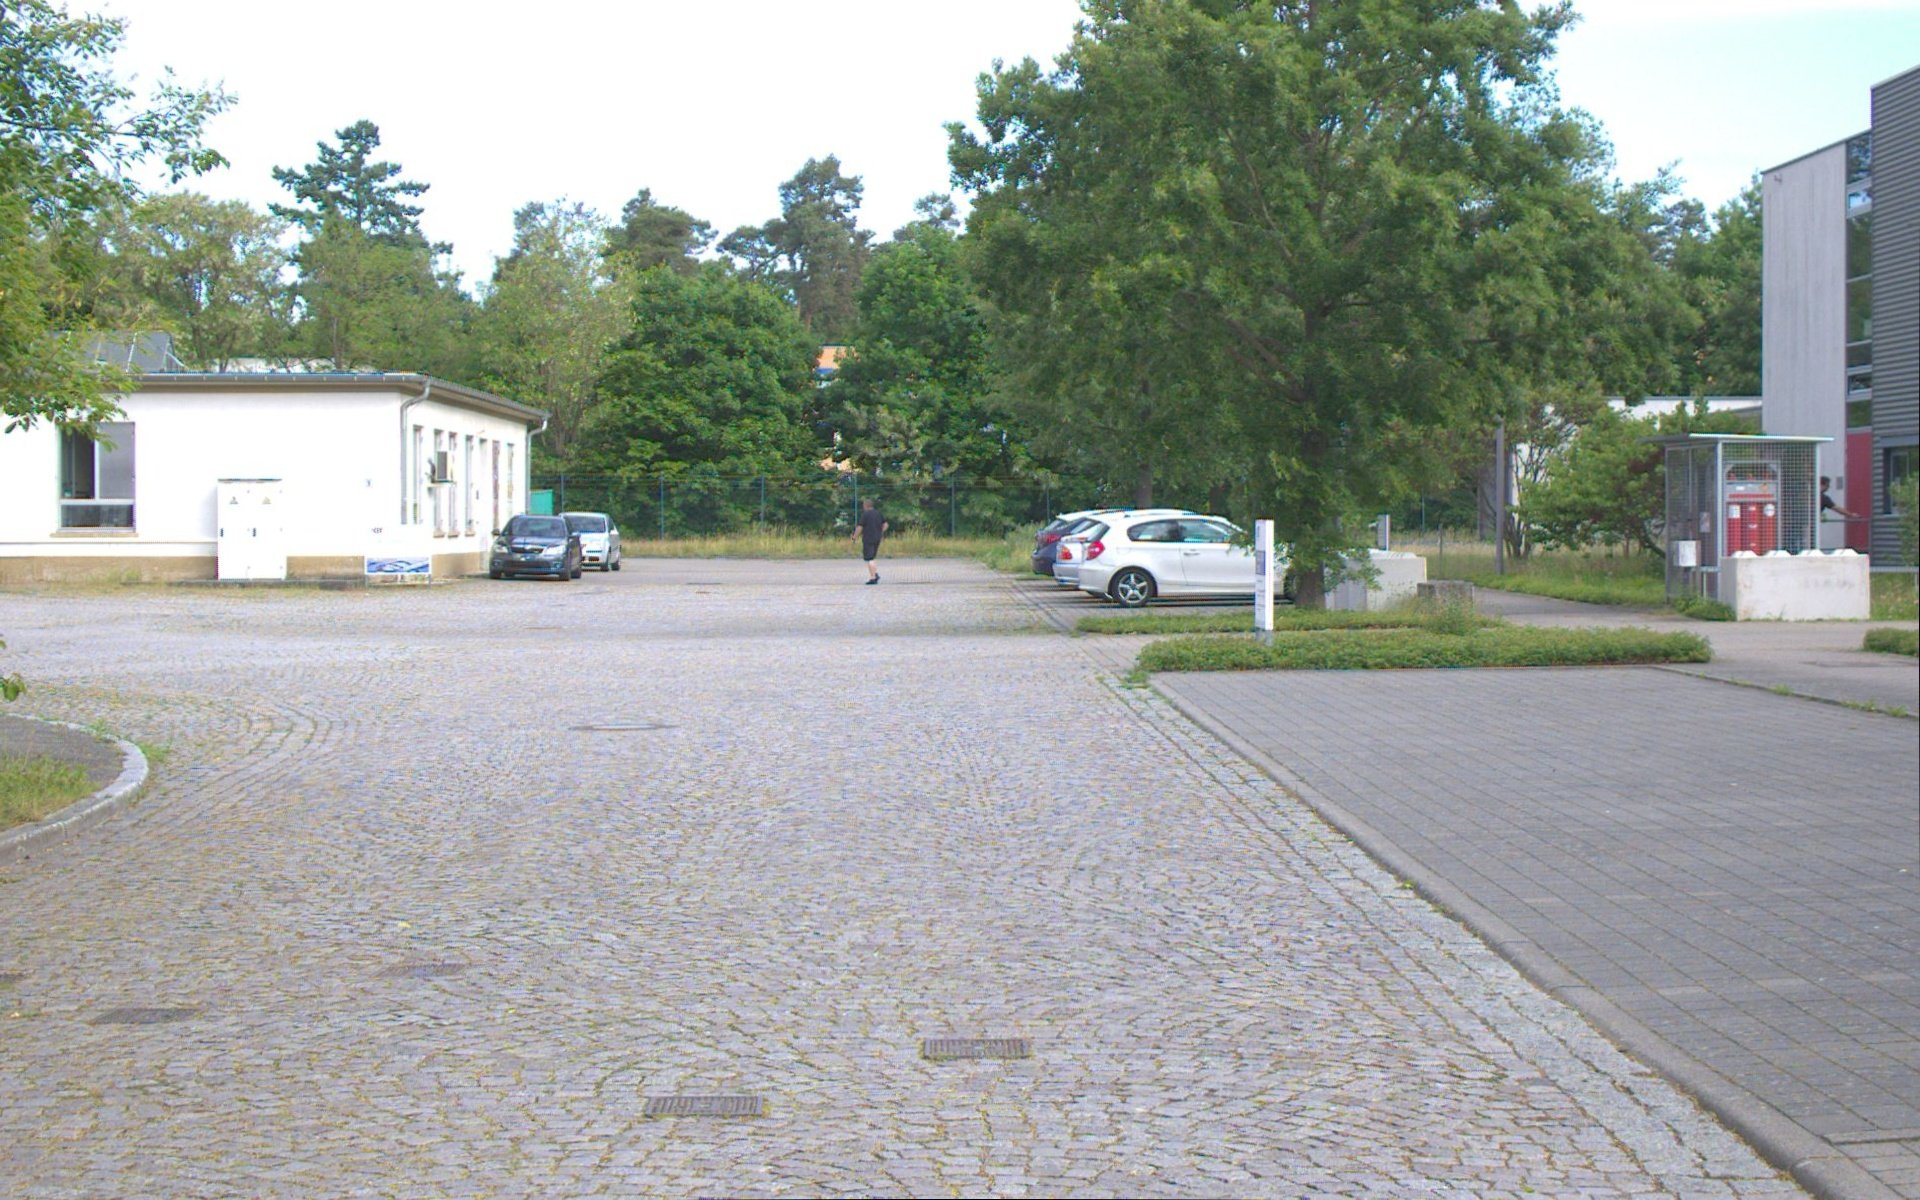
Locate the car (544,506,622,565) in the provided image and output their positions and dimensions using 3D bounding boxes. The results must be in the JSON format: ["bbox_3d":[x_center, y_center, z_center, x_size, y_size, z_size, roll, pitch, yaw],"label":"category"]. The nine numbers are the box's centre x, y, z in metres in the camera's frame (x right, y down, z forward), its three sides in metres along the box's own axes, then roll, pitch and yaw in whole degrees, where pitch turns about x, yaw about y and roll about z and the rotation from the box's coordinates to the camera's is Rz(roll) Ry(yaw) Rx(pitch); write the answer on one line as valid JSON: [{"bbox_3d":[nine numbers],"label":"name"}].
[{"bbox_3d":[-9.514,-1.647,87.054,1.748,1.449,4.001,0,1,-3],"label":"car"}]

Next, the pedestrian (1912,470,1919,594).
[{"bbox_3d":[15.471,-1.055,53.520,0.917,1.930,0.855,0,1,-31],"label":"pedestrian"}]

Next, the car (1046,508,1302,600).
[{"bbox_3d":[3.404,-0.749,55.147,3.987,1.450,1.697,0,1,0],"label":"car"}]

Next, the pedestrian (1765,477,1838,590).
[{"bbox_3d":[15.032,-1.193,61.462,0.920,2.007,1.147,0,1,-7],"label":"pedestrian"}]

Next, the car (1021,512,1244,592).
[{"bbox_3d":[3.140,-0.890,63.088,3.987,1.450,1.770,0,1,0],"label":"car"}]

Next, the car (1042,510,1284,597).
[{"bbox_3d":[3.407,-0.796,58.187,3.987,1.450,1.770,0,1,0],"label":"car"}]

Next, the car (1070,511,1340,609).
[{"bbox_3d":[3.739,-0.615,52.983,3.987,1.450,2.000,1,1,0],"label":"car"}]

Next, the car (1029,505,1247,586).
[{"bbox_3d":[3.408,-1.052,66.304,3.986,1.528,2.000,0,1,-4],"label":"car"}]

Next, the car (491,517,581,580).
[{"bbox_3d":[-9.448,-1.162,76.829,1.748,1.359,4.001,0,1,-3],"label":"car"}]

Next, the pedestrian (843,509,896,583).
[{"bbox_3d":[-1.915,-1.152,72.794,0.939,1.563,0.971,0,1,-13],"label":"pedestrian"}]
